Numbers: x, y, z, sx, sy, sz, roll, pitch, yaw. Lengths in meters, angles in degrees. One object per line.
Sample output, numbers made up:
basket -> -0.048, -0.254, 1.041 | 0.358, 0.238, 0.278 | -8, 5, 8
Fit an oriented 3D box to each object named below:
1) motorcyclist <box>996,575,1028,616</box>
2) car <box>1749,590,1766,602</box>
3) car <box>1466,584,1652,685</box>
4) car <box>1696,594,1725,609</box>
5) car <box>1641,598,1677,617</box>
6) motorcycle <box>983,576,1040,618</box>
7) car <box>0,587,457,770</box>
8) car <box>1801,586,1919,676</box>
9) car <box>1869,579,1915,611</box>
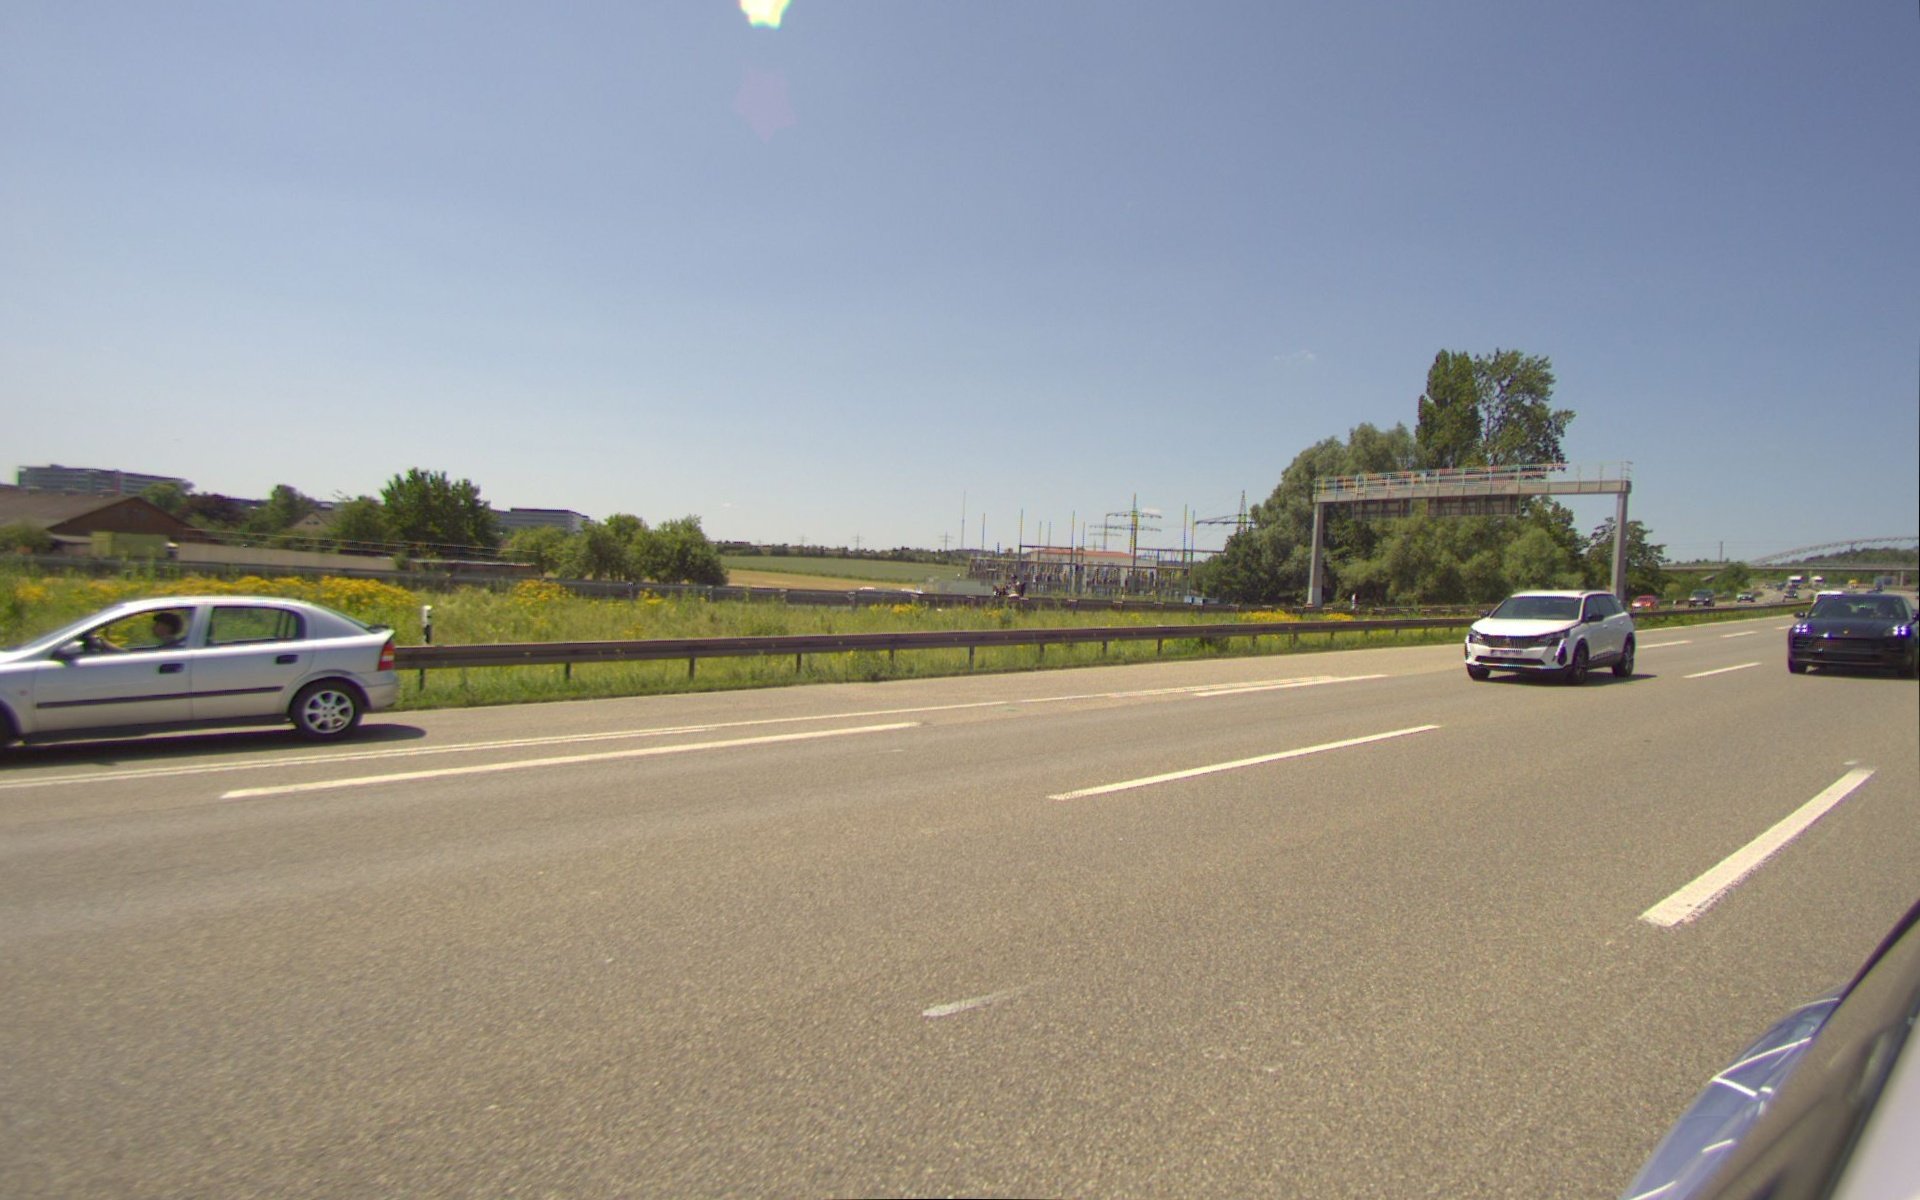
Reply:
motorcyclist -> 1.790, -0.151, 34.548 | 0.861, 1.383, 0.671 | -1, 1, -34
car -> 113.144, -0.532, 143.566 | 1.698, 1.594, 4.067 | 1, 1, 41
car -> 11.180, 0.526, 18.745 | 4.542, 1.611, 1.746 | -1, 1, -43
car -> 84.533, 0.102, 113.942 | 4.055, 1.594, 1.703 | -1, 1, -40
car -> 63.815, 0.667, 92.411 | 4.055, 1.594, 1.703 | -1, 1, -40
motorcycle -> 1.768, -0.118, 34.514 | 1.833, 1.383, 0.763 | -1, 1, -33
car -> -7.593, 0.630, 9.639 | 4.759, 1.455, 1.790 | -1, 1, -38
car -> 18.581, 0.536, 20.548 | 4.065, 1.615, 1.928 | -1, 2, -44
car -> 58.360, -0.326, 63.340 | 4.223, 1.943, 1.806 | -1, 1, -43
